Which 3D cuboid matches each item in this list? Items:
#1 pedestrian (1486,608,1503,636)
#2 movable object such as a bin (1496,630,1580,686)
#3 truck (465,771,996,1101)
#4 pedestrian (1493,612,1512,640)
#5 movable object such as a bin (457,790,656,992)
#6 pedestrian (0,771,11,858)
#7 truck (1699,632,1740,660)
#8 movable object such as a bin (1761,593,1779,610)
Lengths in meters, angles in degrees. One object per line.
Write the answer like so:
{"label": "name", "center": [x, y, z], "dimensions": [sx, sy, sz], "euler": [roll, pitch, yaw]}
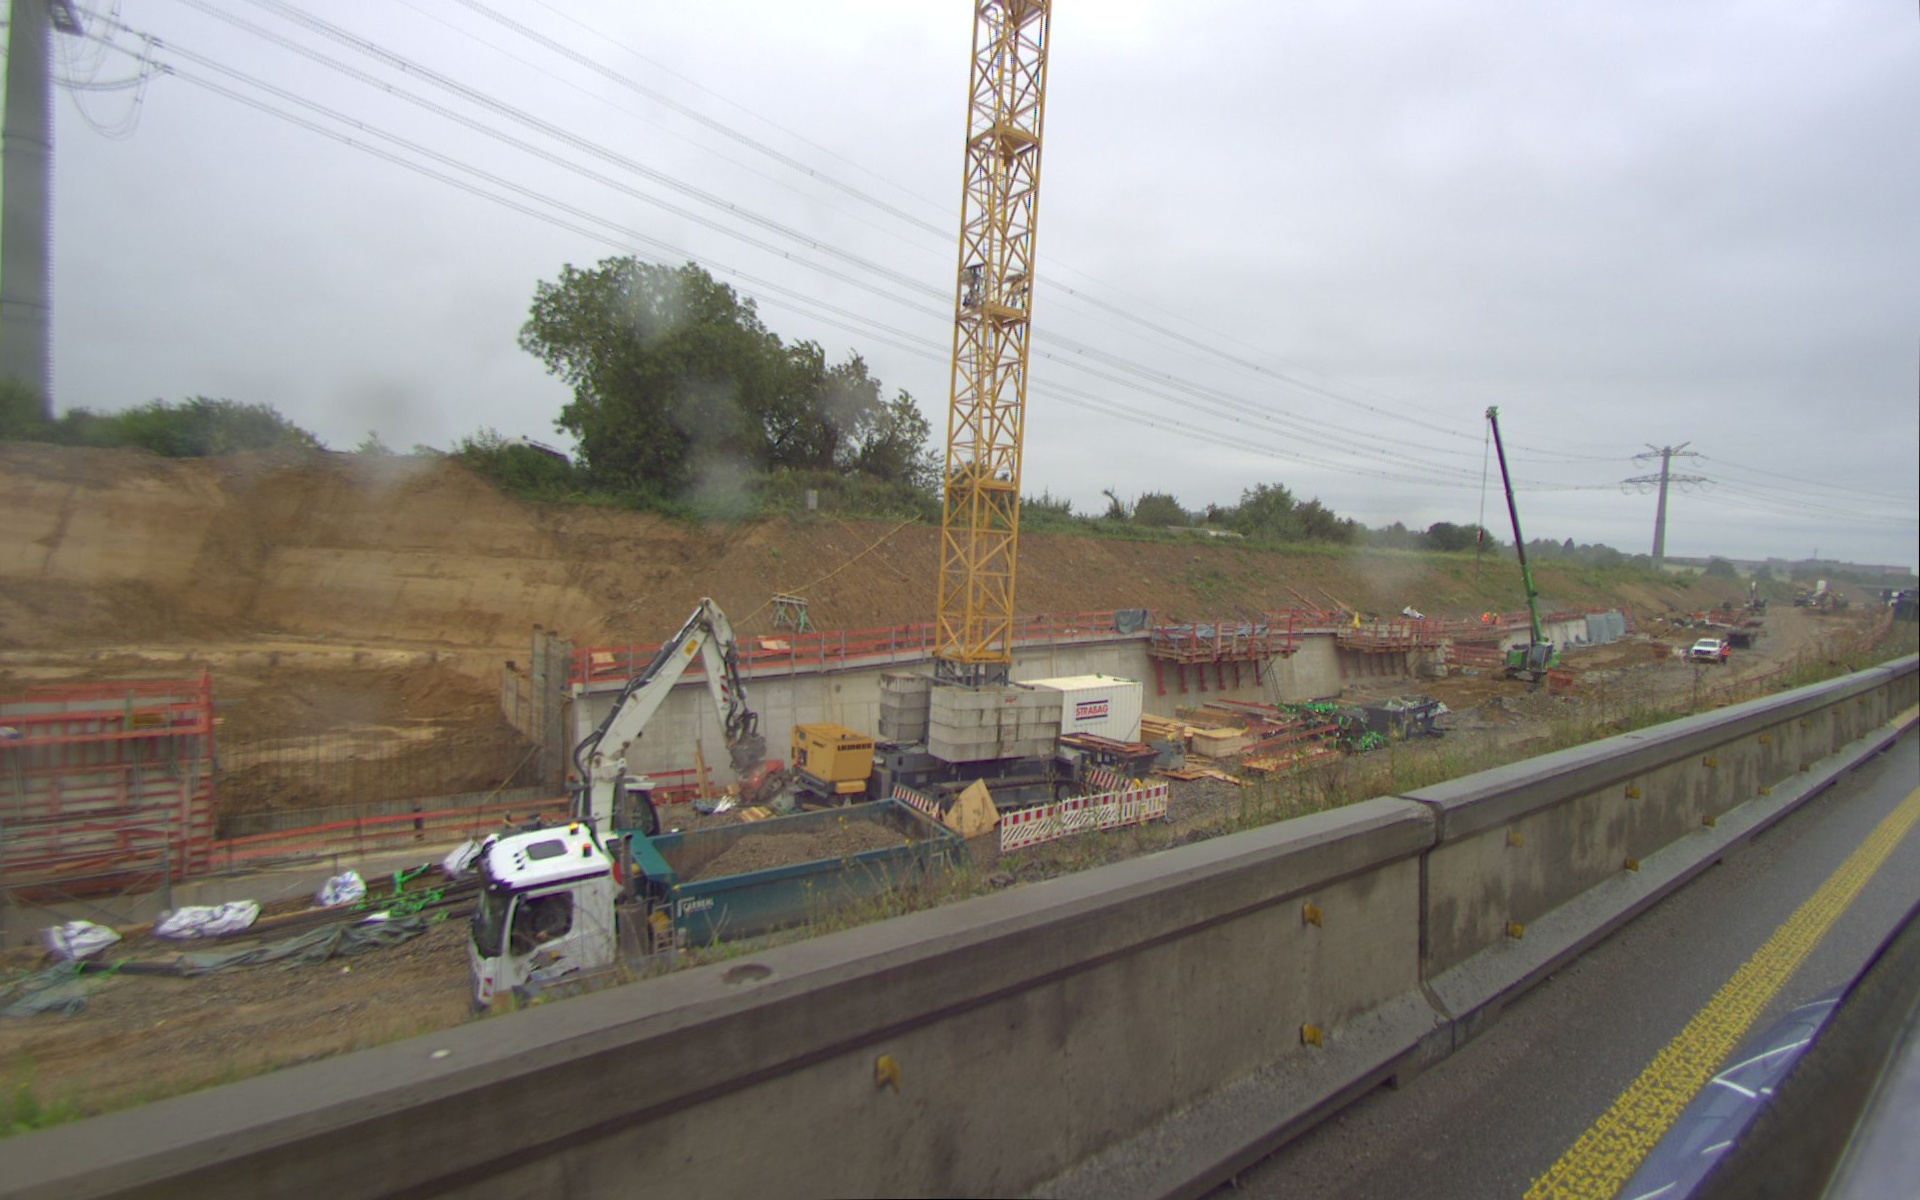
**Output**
{"label": "pedestrian", "center": [45.208, 1.840, 85.668], "dimensions": [0.914, 2.275, 0.991], "euler": [-5, -3, 42]}
{"label": "movable object such as a bin", "center": [38.530, 3.777, 67.475], "dimensions": [3.794, 2.836, 4.782], "euler": [2, 7, 44]}
{"label": "truck", "center": [-3.818, 5.402, 17.899], "dimensions": [8.767, 3.547, 2.712], "euler": [0, 1, -29]}
{"label": "pedestrian", "center": [44.902, 2.125, 83.738], "dimensions": [0.988, 2.260, 0.916], "euler": [-1, -3, -41]}
{"label": "movable object such as a bin", "center": [-8.177, 5.664, 20.434], "dimensions": [2.916, 2.772, 3.156], "euler": [0, 1, -40]}
{"label": "pedestrian", "center": [-23.202, 5.144, 23.995], "dimensions": [0.882, 2.027, 0.904], "euler": [-1, -9, -36]}
{"label": "truck", "center": [60.559, 3.642, 80.625], "dimensions": [5.693, 1.894, 1.764], "euler": [-1, 3, -45]}
{"label": "movable object such as a bin", "center": [140.339, 0.220, 175.415], "dimensions": [2.244, 2.753, 3.940], "euler": [0, 1, 42]}
